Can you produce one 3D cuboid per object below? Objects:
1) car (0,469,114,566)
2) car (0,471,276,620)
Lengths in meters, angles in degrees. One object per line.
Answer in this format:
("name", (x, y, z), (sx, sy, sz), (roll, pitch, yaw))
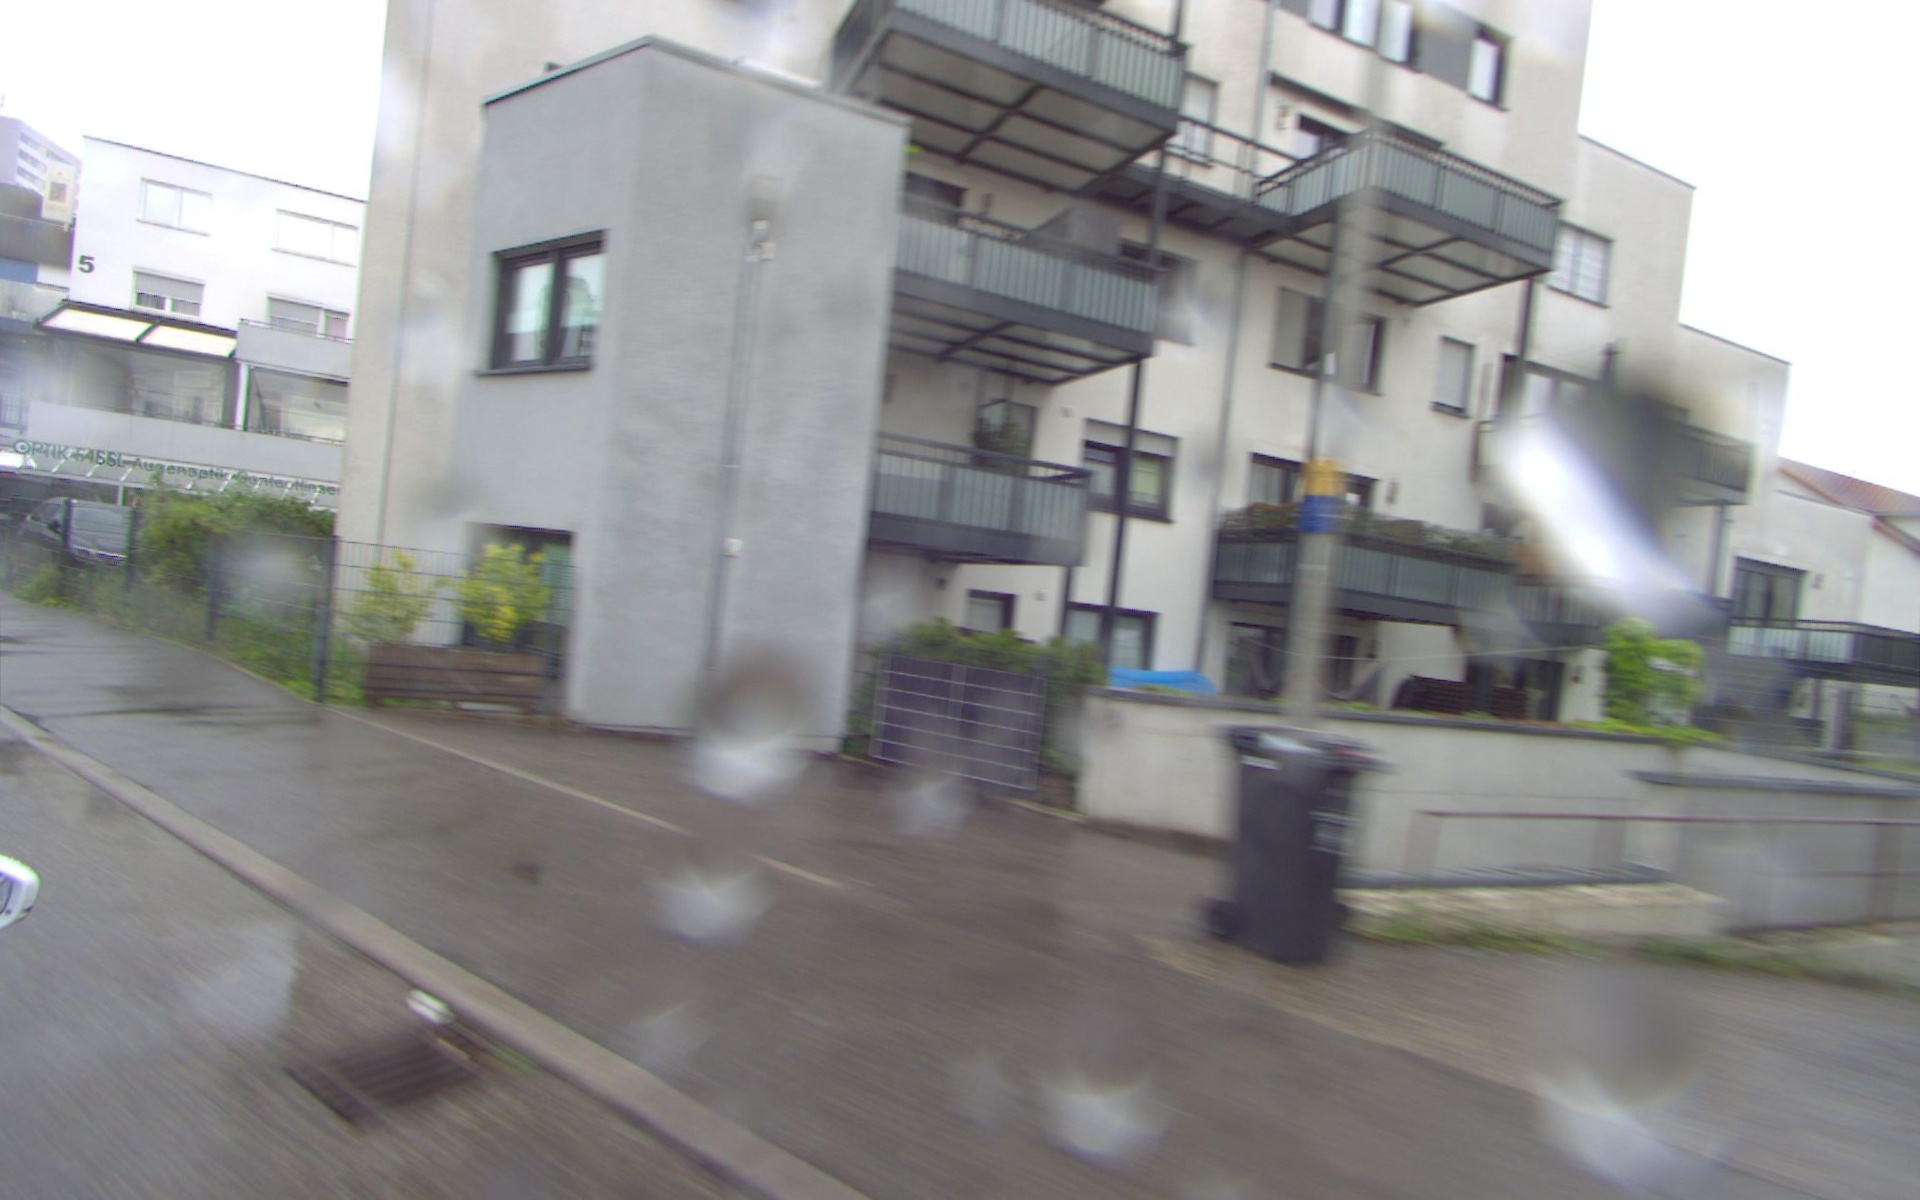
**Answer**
("car", (-22.281, -1.997, 24.134), (1.977, 2.039, 4.744), (6, 0, -29))
("car", (-13.071, -0.885, 15.769), (4.611, 1.808, 1.996), (7, 1, 30))
